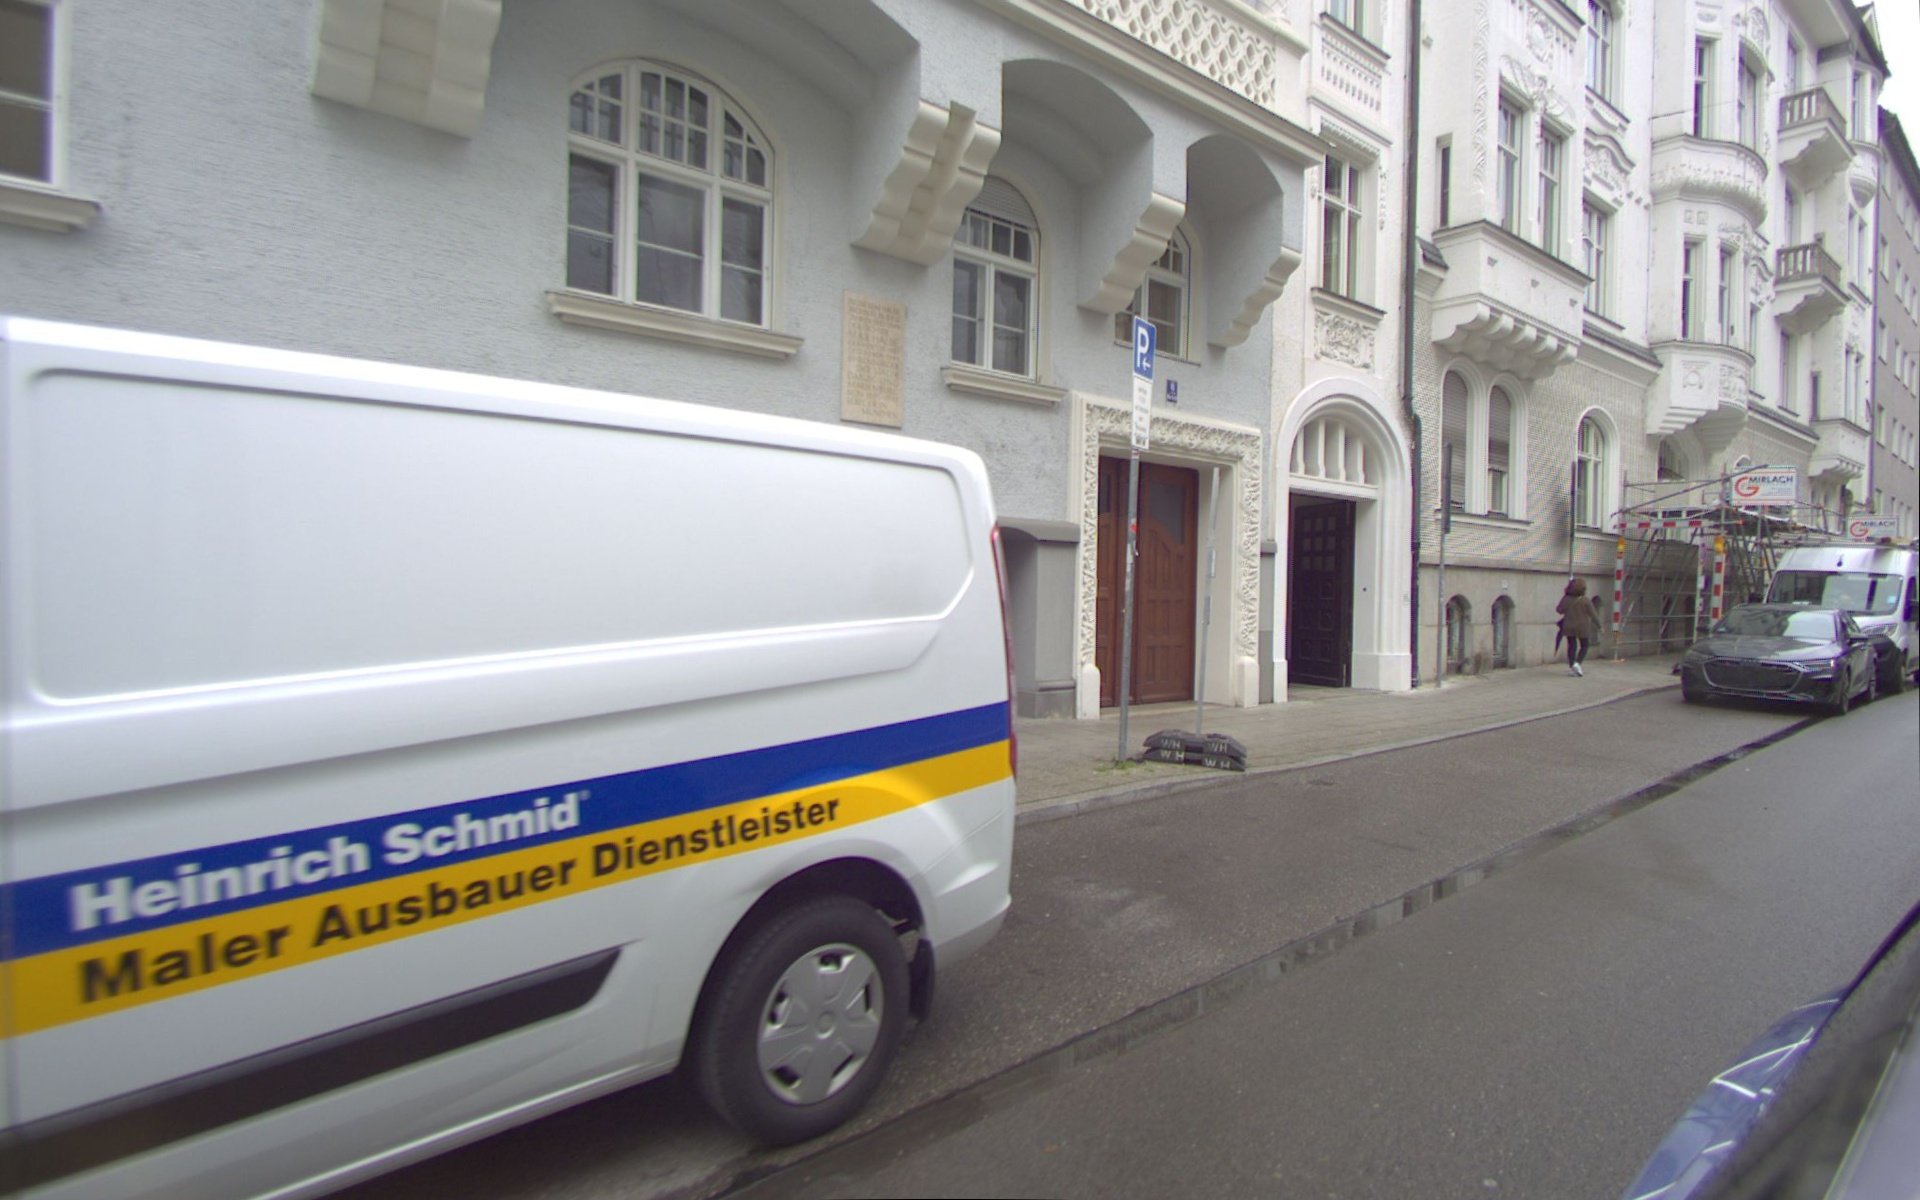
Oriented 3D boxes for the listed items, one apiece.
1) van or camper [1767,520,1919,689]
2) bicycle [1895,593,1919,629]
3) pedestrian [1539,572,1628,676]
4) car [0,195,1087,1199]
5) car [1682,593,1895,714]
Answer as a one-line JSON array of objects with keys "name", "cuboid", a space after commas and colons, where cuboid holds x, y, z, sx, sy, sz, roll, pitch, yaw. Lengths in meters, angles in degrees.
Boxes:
[{"name": "van or camper", "cuboid": [16.601, 0.027, 18.443, 5.362, 2.669, 1.957, 0, 1, -40]}, {"name": "bicycle", "cuboid": [35.509, 0.404, 37.854, 1.788, 1.275, 0.513, 0, 5, -41]}, {"name": "pedestrian", "cuboid": [10.167, 0.363, 16.503, 0.999, 1.573, 0.922, -2, 4, -41]}, {"name": "car", "cuboid": [-2.067, 0.366, 2.376, 4.907, 2.039, 1.962, 0, 2, -42]}, {"name": "car", "cuboid": [11.999, 0.654, 14.574, 4.016, 1.452, 1.756, 0, 2, -42]}]
